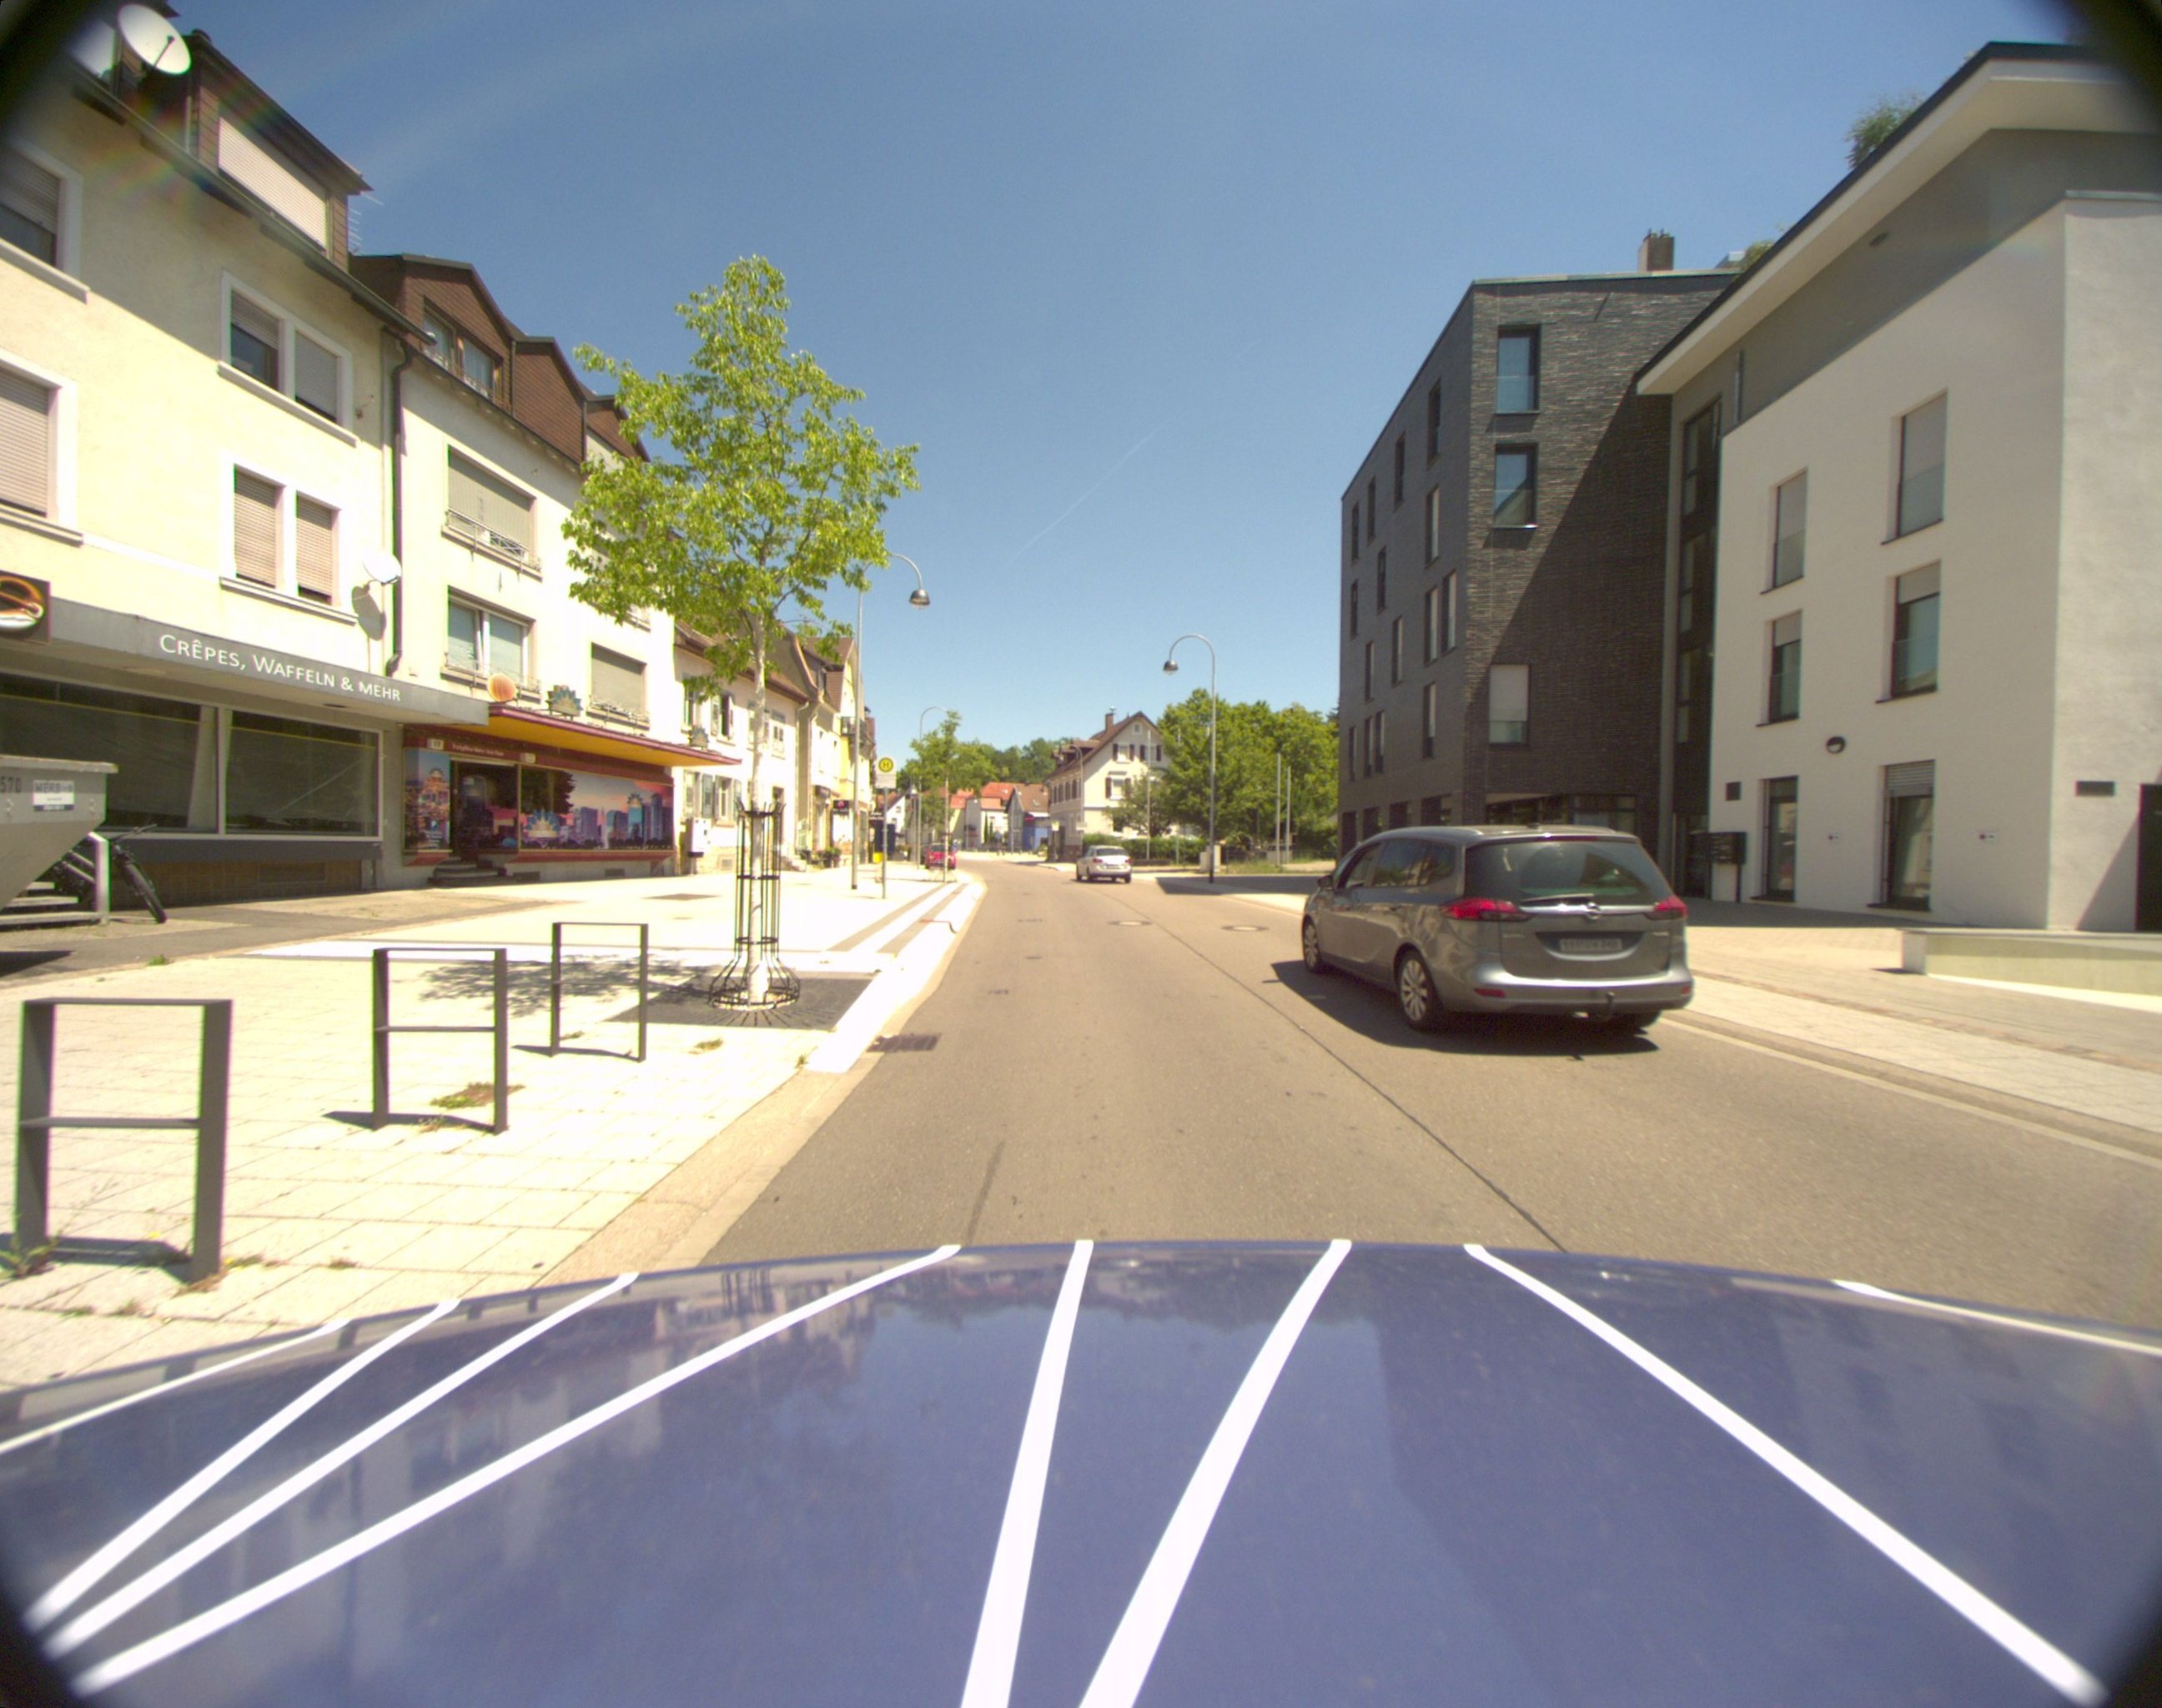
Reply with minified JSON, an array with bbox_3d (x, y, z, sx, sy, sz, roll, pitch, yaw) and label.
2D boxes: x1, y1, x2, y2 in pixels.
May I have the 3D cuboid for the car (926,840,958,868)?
[{"bbox_3d":[-8.067,-0.010,43.873,1.685,1.505,3.382,1,1,-12],"label":"car"}]

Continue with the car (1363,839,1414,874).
[{"bbox_3d":[14.565,0.060,36.156,1.696,1.478,4.084,3,2,15],"label":"car"}]

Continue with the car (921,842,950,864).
[{"bbox_3d":[-10.894,-0.080,56.742,1.737,1.464,4.317,2,1,-15],"label":"car"}]

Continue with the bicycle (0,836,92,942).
[{"bbox_3d":[-12.153,0.396,8.719,1.272,1.177,0.415,-1,2,11],"label":"bicycle"}]

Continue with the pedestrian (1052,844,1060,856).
[{"bbox_3d":[-2.179,-0.378,66.607,0.599,1.053,0.566,0,2,-17],"label":"pedestrian"}]

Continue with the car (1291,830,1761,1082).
[{"bbox_3d":[3.501,0.637,7.111,1.947,1.649,4.235,-1,1,1],"label":"car"}]

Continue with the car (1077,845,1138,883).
[{"bbox_3d":[0.971,0.338,29.985,1.673,1.388,3.843,-1,1,-10],"label":"car"}]
